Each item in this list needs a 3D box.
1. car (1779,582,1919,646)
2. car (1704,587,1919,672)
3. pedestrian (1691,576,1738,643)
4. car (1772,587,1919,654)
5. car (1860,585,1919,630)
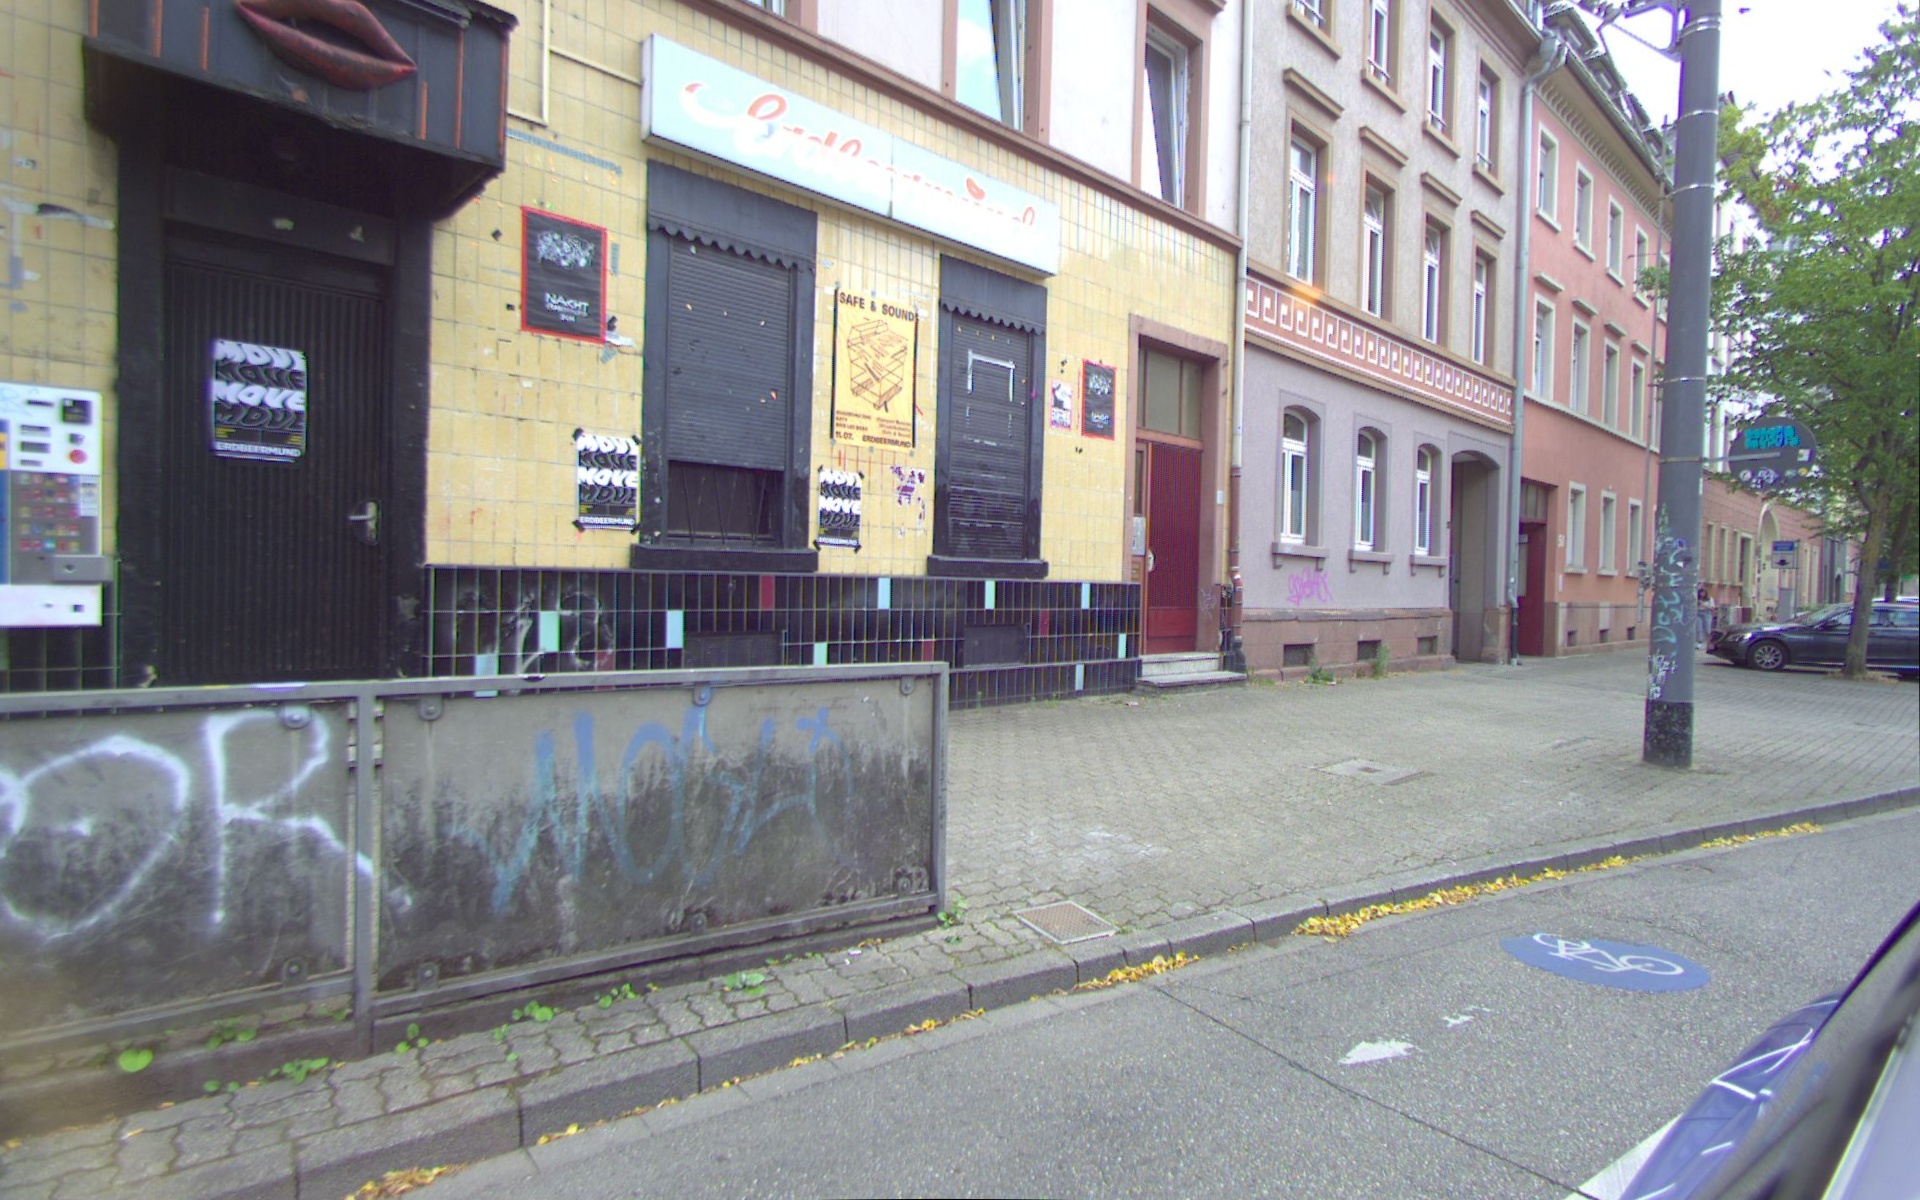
[{"bbox_3d":[27.690,0.430,30.557,4.196,1.719,1.725,3,2,25],"label":"car"},{"bbox_3d":[18.029,0.586,20.370,4.581,1.491,1.774,3,2,25],"label":"car"},{"bbox_3d":[20.312,0.244,27.248,0.910,1.708,0.732,1,4,-42],"label":"pedestrian"},{"bbox_3d":[23.151,0.525,25.116,4.301,1.498,1.774,3,2,25],"label":"car"},{"bbox_3d":[39.250,0.386,40.322,4.581,1.719,1.901,3,2,25],"label":"car"}]
